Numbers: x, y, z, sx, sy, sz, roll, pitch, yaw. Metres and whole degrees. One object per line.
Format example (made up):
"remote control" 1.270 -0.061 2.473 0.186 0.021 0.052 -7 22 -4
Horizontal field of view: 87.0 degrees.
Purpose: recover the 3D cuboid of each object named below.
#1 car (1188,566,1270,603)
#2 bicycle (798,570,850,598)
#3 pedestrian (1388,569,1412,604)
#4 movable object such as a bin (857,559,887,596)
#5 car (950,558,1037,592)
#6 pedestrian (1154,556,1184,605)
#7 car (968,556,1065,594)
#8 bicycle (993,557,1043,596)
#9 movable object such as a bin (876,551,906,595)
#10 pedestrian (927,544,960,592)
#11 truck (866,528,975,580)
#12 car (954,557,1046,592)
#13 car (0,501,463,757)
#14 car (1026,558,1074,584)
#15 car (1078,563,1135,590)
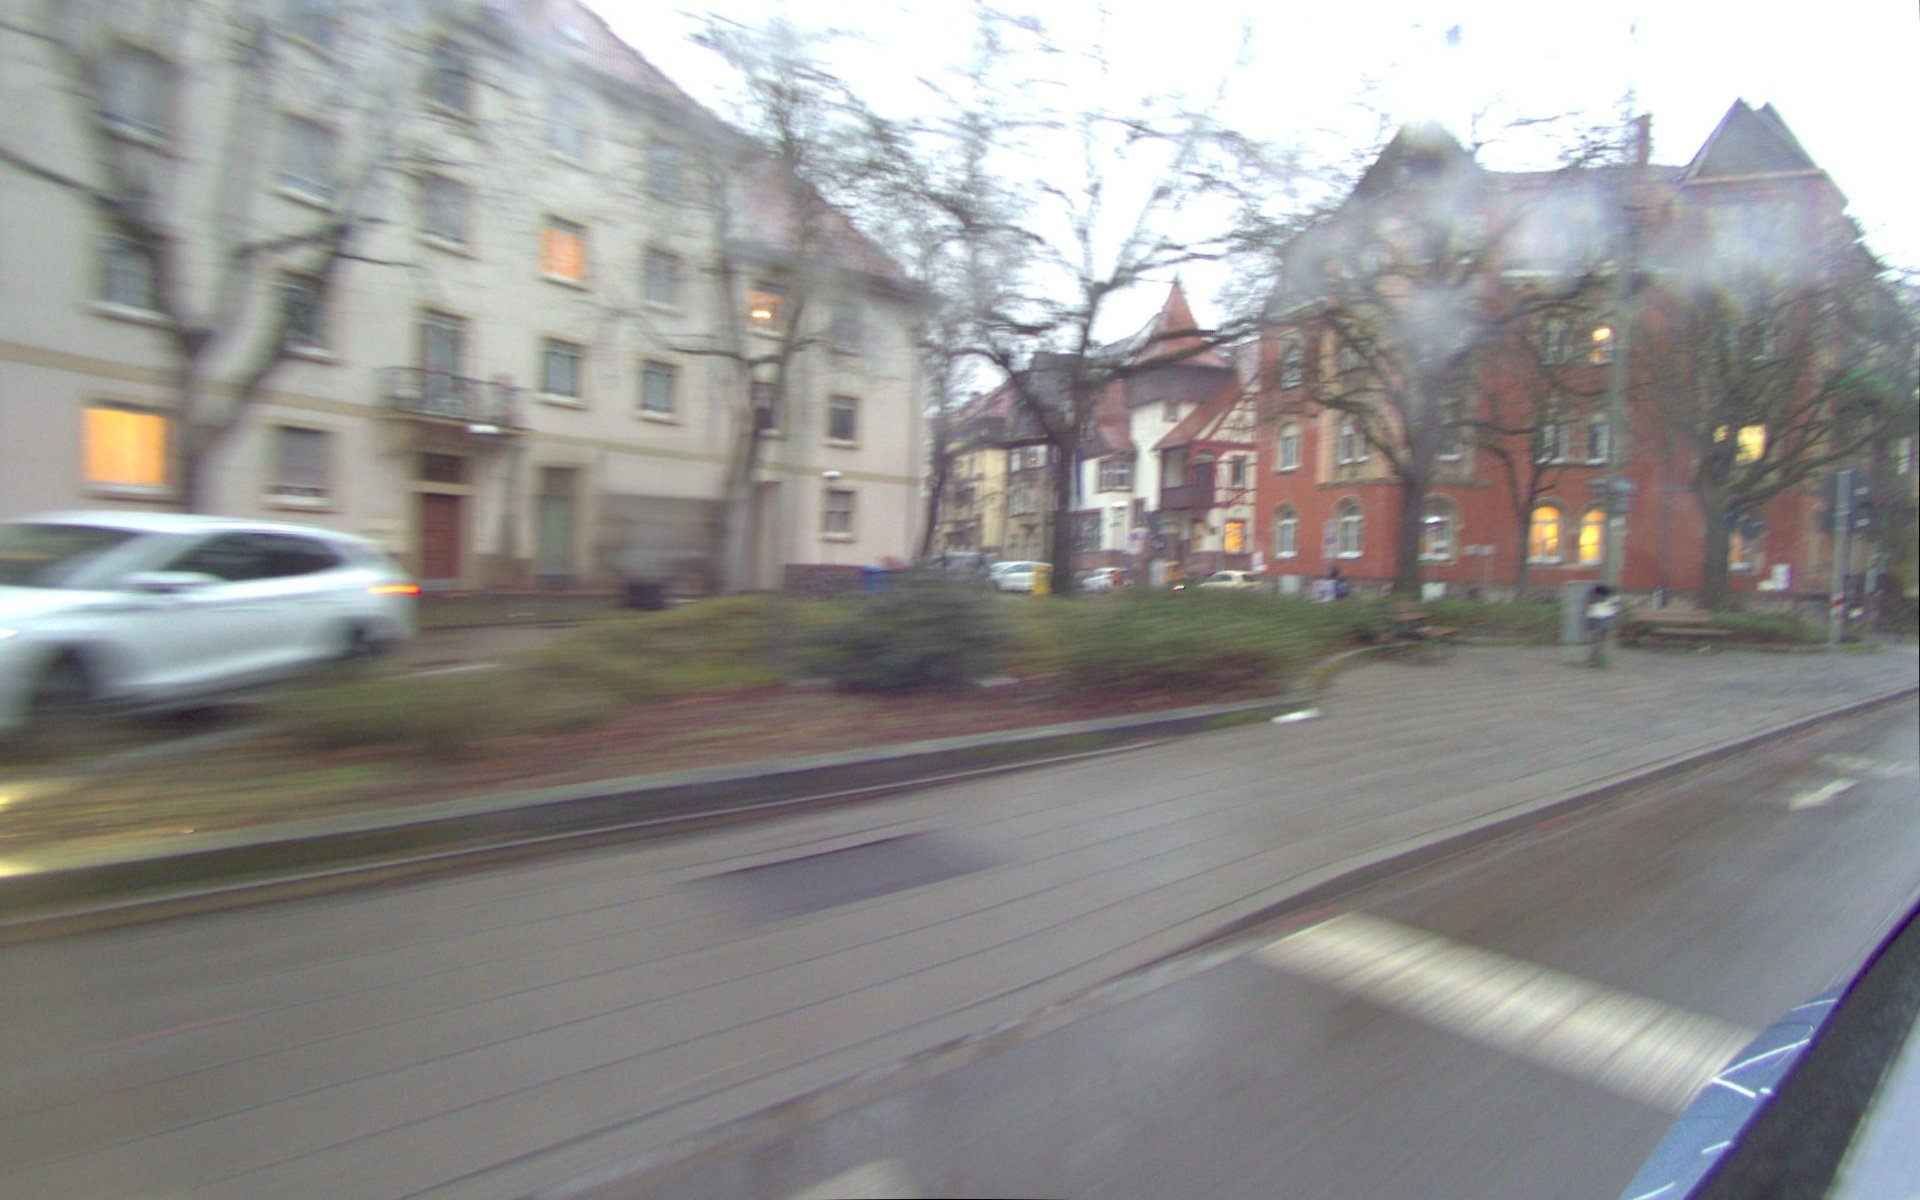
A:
"car" 12.403 -0.749 46.934 1.613 1.514 4.010 2 2 -19
"bicycle" -3.920 -0.445 29.256 1.562 0.775 0.339 0 3 -42
"pedestrian" 16.937 -0.533 38.935 0.596 1.333 0.548 2 0 -19
"movable object such as a bin" -2.471 -0.634 28.384 0.526 0.992 0.642 4 2 39
"car" 1.633 -1.245 49.859 3.917 1.494 1.855 2 2 -11
"pedestrian" 8.297 -0.779 40.168 0.797 1.886 0.880 2 2 -12
"car" 2.476 -1.103 44.935 3.917 1.504 1.855 2 2 -11
"bicycle" 2.023 -0.811 35.109 1.880 1.307 0.467 0 2 -40
"movable object such as a bin" -1.967 -0.775 28.888 0.526 1.243 0.642 3 2 39
"pedestrian" -0.578 -1.148 35.864 0.744 1.662 1.125 1 2 -23
"truck" -2.645 -3.034 67.232 6.592 3.130 2.640 2 2 -20
"car" 1.863 -1.206 47.519 3.917 1.494 1.855 2 2 -11
"car" -6.320 0.047 7.896 1.870 1.528 4.739 3 3 12
"car" 5.985 -1.973 67.806 1.689 1.525 4.010 2 2 -19
"car" 8.534 -1.386 59.246 1.613 1.415 4.010 2 2 -19
